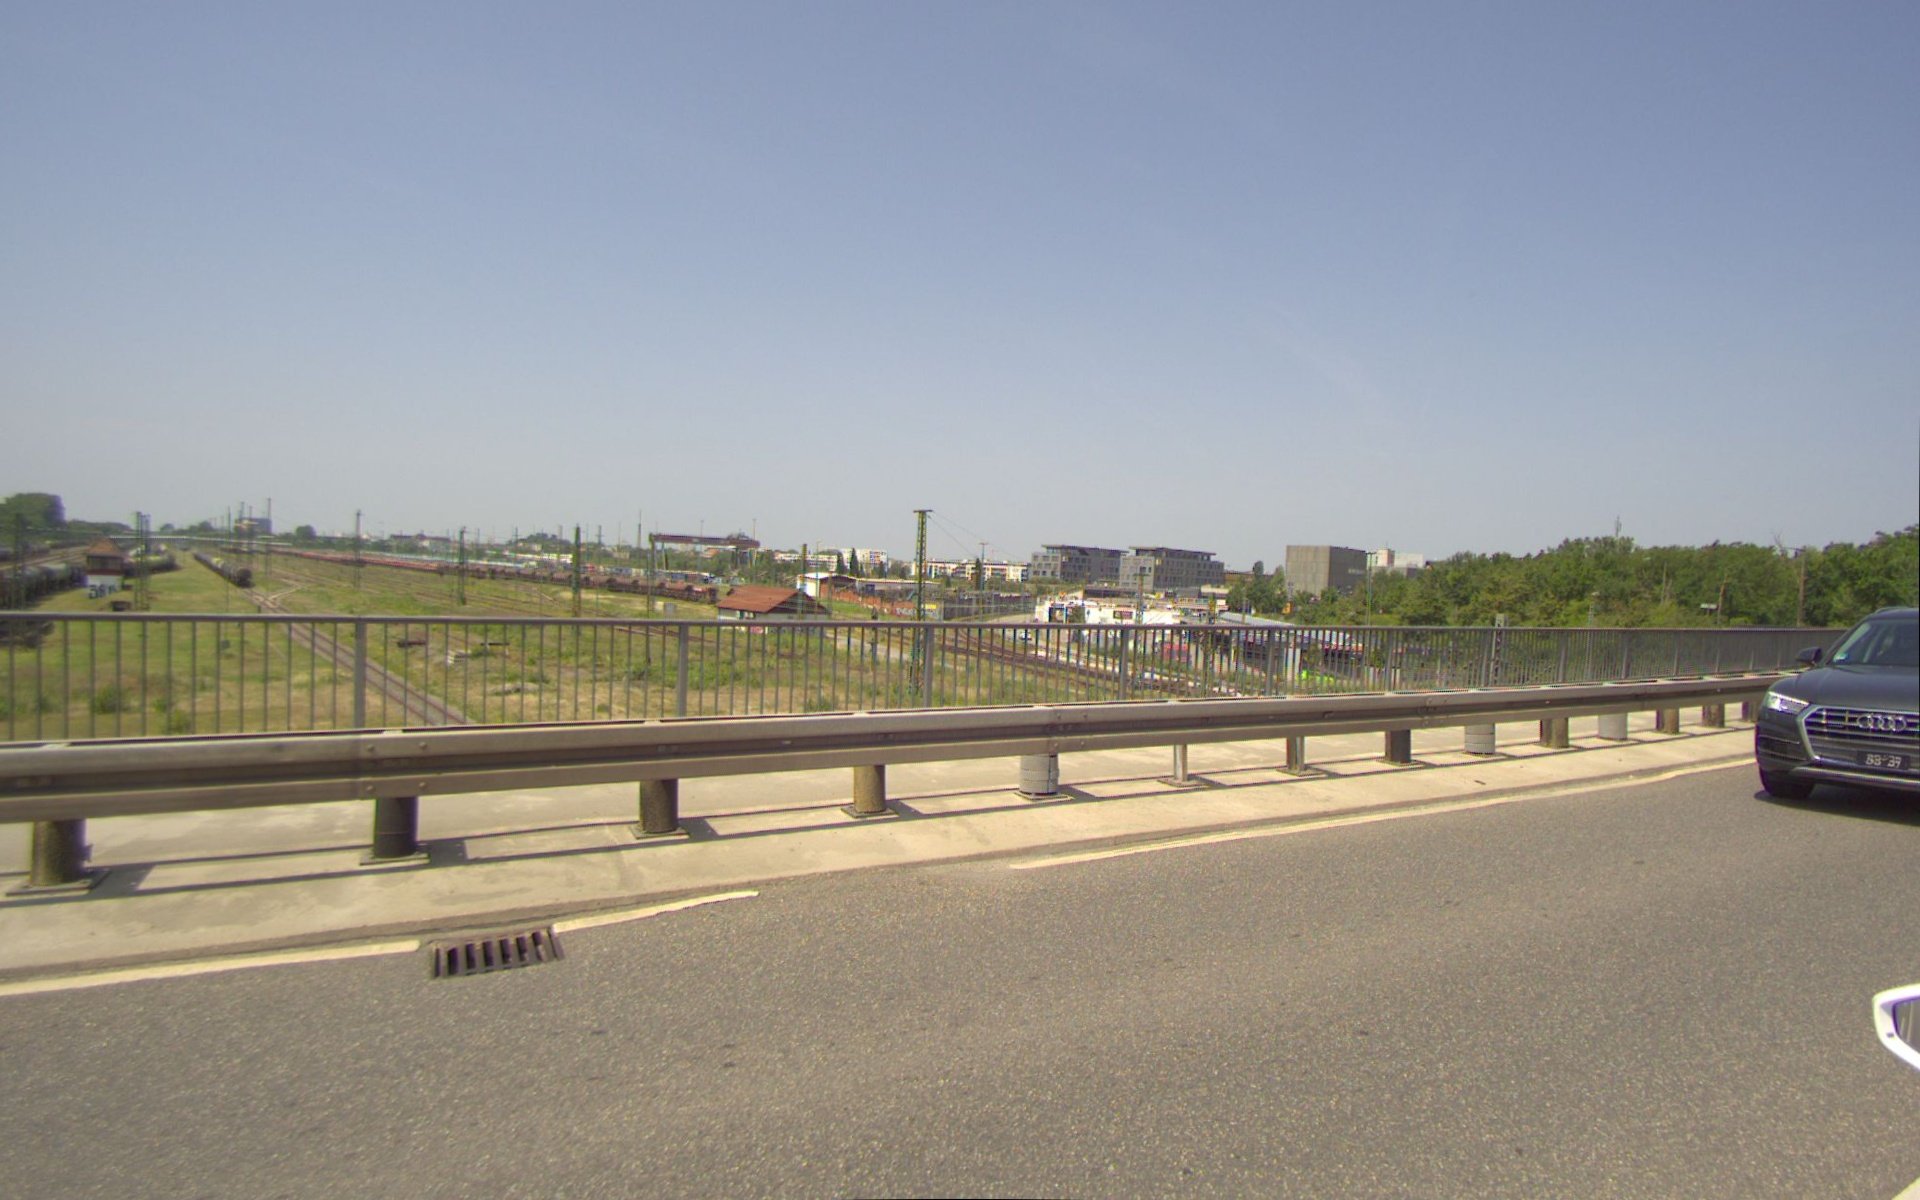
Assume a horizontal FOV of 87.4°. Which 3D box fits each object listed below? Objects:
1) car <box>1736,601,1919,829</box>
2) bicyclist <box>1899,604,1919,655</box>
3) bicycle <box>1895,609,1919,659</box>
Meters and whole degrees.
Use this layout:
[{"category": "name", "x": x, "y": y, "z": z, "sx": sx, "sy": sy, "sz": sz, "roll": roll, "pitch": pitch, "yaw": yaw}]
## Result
[{"category": "car", "x": 8.649, "y": 0.864, "z": 8.686, "sx": 4.188, "sy": 1.658, "sz": 1.830, "roll": 1, "pitch": 0, "yaw": -34}, {"category": "bicyclist", "x": 36.476, "y": 1.111, "z": 38.507, "sx": 0.616, "sy": 1.911, "sz": 0.709, "roll": 2, "pitch": 2, "yaw": 39}, {"category": "bicycle", "x": 36.538, "y": 1.278, "z": 38.596, "sx": 0.689, "sy": 1.826, "sz": 2.171, "roll": 2, "pitch": 1, "yaw": 38}]
